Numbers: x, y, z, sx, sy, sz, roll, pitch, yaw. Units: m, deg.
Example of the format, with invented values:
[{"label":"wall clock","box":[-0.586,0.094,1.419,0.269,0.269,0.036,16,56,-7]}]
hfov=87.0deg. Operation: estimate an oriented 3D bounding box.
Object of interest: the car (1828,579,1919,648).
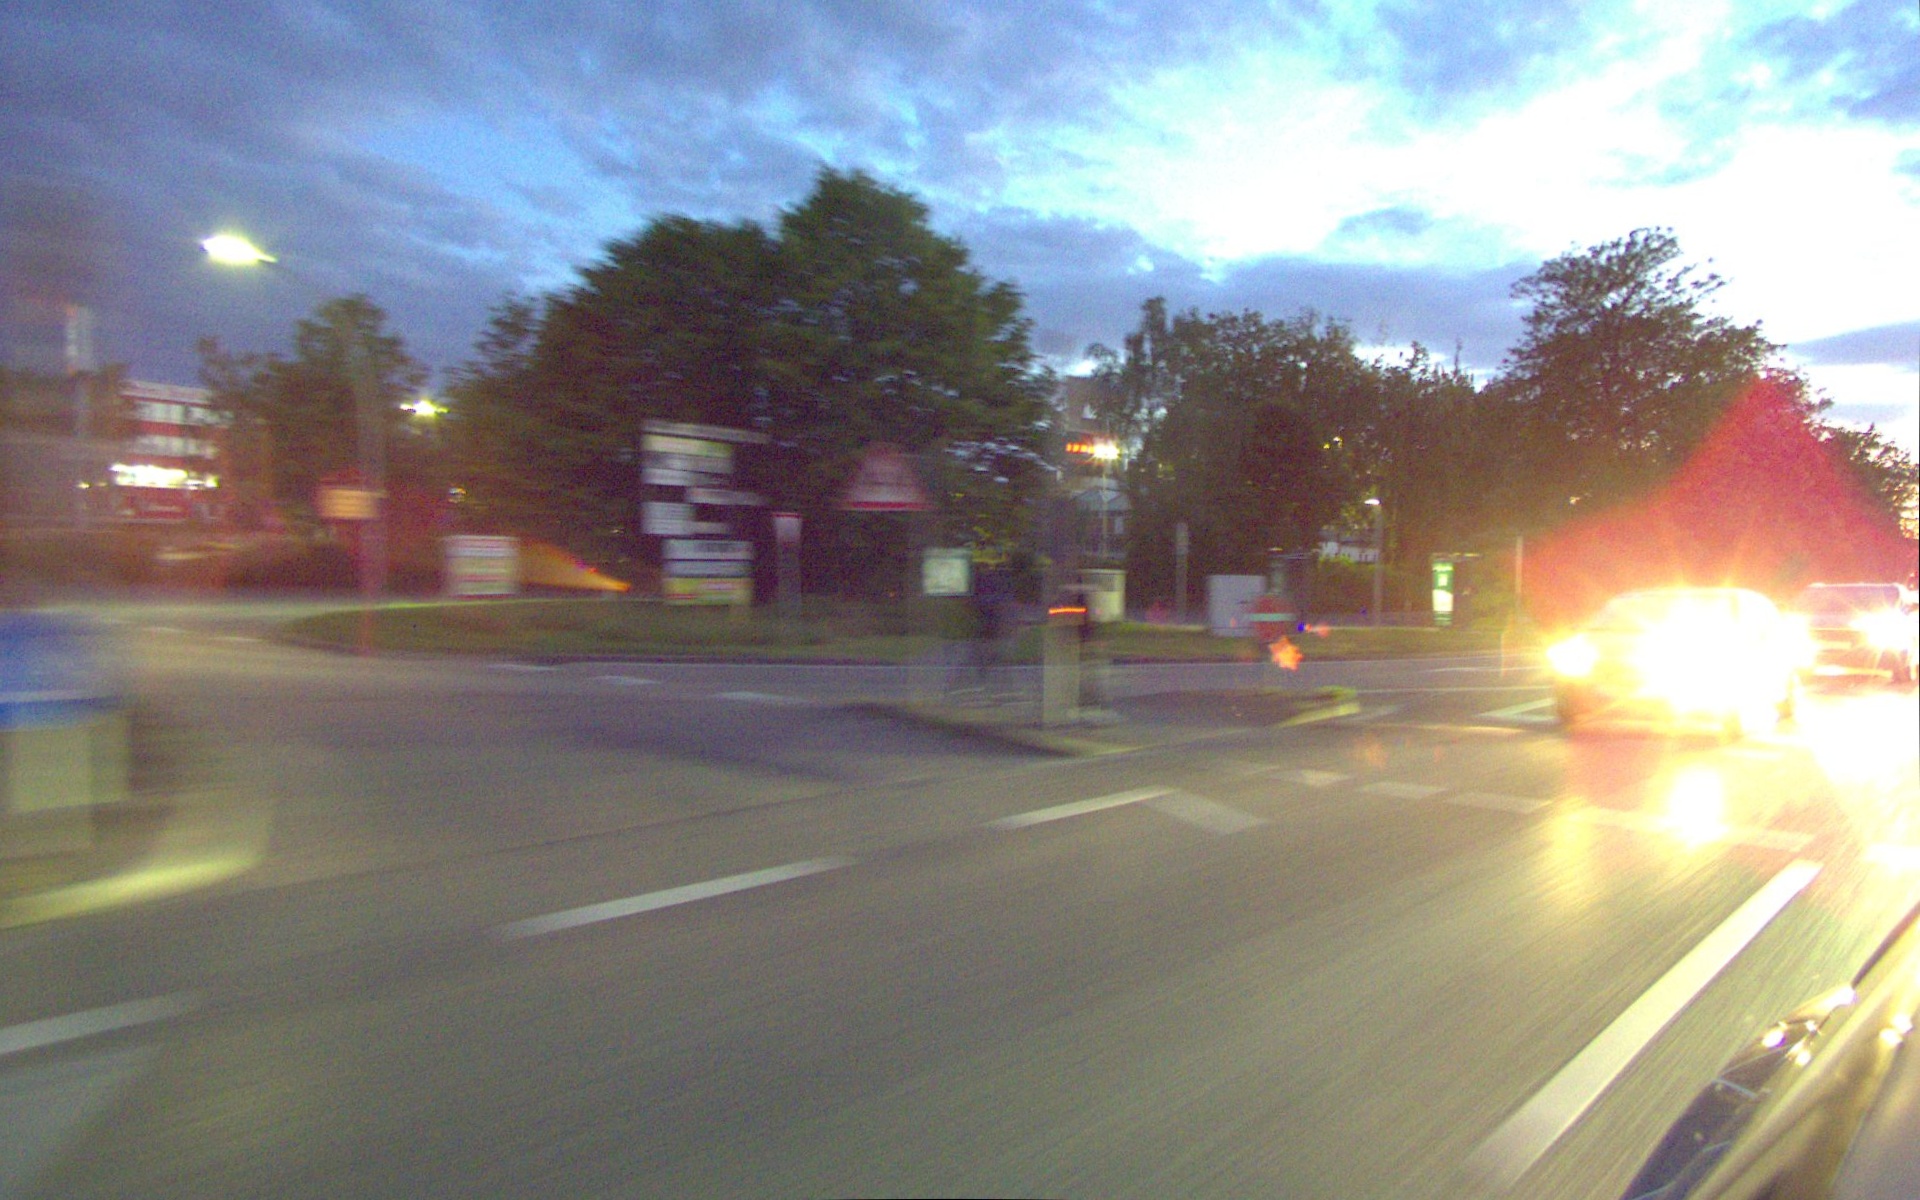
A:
[{"label":"car","box":[20.801,0.274,22.598,3.689,1.431,1.620,0,1,-41]}]

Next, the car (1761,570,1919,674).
[{"label":"car","box":[15.545,0.347,17.492,4.225,1.577,1.900,0,-1,-41]}]

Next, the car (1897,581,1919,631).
[{"label":"car","box":[28.838,0.153,29.537,3.932,1.385,1.817,-1,1,-42]}]

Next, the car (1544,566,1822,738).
[{"label":"car","box":[7.927,0.468,10.993,3.649,1.556,1.662,0,0,-41]}]

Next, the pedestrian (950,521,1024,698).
[{"label":"pedestrian","box":[0.333,0.111,12.133,0.768,2.039,0.712,-1,0,10]}]
